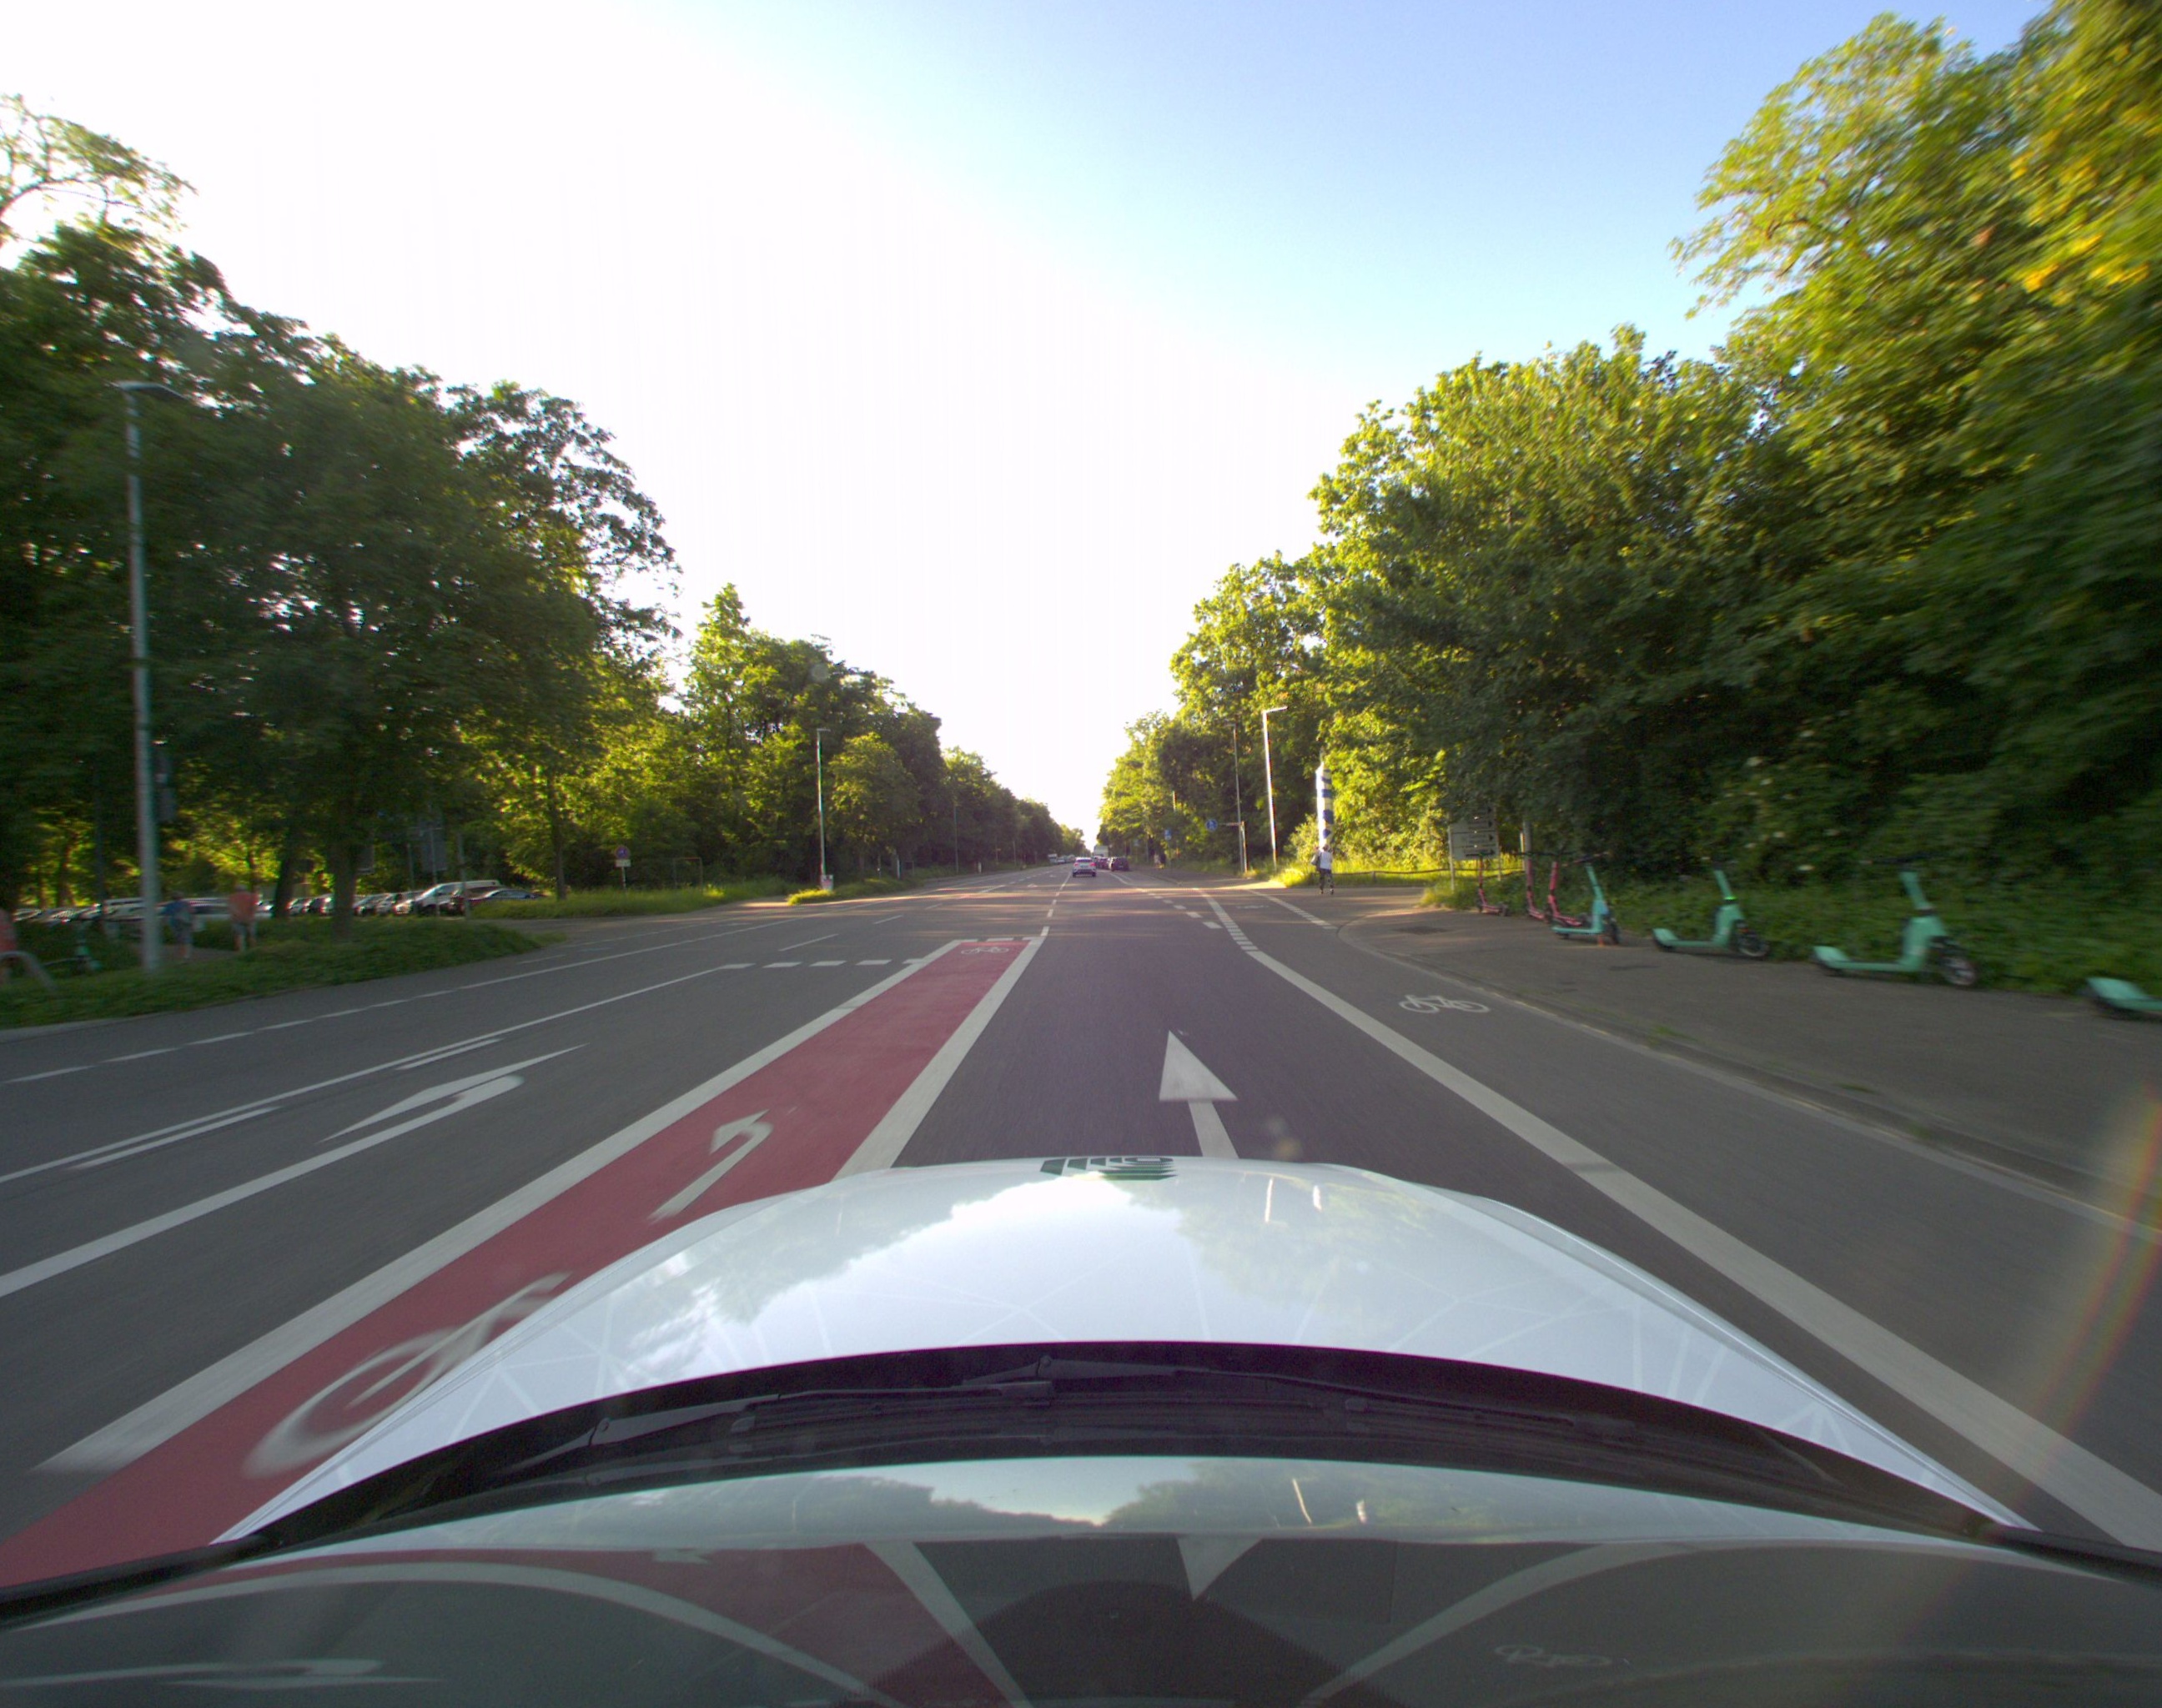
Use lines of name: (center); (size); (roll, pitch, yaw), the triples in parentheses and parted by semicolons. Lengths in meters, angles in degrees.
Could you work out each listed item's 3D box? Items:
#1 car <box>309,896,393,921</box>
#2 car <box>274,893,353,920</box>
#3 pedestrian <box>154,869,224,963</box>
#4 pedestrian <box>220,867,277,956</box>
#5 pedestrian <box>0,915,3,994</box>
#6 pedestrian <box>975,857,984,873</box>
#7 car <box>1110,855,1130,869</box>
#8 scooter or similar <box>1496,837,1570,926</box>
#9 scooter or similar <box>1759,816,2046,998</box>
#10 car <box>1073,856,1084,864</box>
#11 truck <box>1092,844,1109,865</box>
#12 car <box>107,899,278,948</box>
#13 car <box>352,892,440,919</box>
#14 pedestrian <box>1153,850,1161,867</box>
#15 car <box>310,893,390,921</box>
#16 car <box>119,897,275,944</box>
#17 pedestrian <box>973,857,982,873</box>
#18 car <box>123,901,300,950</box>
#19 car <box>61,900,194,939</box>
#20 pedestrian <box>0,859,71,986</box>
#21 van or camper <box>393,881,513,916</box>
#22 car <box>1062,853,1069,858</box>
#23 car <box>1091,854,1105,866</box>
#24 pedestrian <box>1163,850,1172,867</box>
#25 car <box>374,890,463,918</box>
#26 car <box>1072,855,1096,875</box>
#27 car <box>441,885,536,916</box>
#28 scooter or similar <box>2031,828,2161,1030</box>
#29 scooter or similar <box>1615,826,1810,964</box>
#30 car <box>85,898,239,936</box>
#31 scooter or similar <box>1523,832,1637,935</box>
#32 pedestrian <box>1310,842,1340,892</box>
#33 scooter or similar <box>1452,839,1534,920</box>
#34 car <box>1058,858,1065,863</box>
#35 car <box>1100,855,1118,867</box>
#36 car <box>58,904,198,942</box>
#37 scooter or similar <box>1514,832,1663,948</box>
car: (-51.602, 3.824, 57.634); (1.652, 1.466, 4.025); (-3, 0, 28)
car: (-59.874, 4.092, 63.571); (1.974, 1.739, 4.025); (-3, 0, 30)
pedestrian: (-19.956, 1.369, 18.226); (0.710, 2.013, 0.880); (-3, 0, 32)
pedestrian: (-19.490, 1.333, 19.075); (0.710, 2.013, 0.752); (-3, 0, 32)
pedestrian: (-17.542, 1.220, 12.564); (0.712, 2.013, 0.799); (-3, 0, 8)
pedestrian: (-13.128, 1.462, 105.774); (0.827, 2.013, 1.270); (-3, 0, 3)
car: (4.087, 0.806, 85.904); (1.987, 1.327, 4.001); (-3, 0, 1)
scooter or similar: (7.678, 0.453, 13.903); (0.678, 1.423, 1.249); (-3, 0, 10)
scooter or similar: (7.264, 0.424, 7.332); (0.682, 1.423, 1.674); (-3, 0, -12)
car: (-0.422, 1.118, 163.970); (1.986, 1.519, 4.002); (-3, 0, 2)
truck: (3.426, 0.117, 145.405); (2.790, 3.570, 8.033); (-1, 0, 0)
car: (-36.371, 2.796, 33.470); (1.974, 1.544, 4.442); (-3, 0, 33)
car: (-44.993, 3.377, 53.568); (1.652, 1.466, 4.025); (-3, 0, 28)
pedestrian: (7.457, 0.465, 79.737); (0.696, 1.653, 0.876); (-3, 0, 1)
car: (-55.505, 4.009, 61.902); (1.974, 1.739, 4.025); (-3, 0, 30)
car: (-39.591, 2.924, 36.597); (1.974, 1.689, 4.442); (-3, 0, 33)
pedestrian: (-13.382, 1.379, 105.783); (0.860, 2.013, 1.270); (-2, 0, 3)
car: (-34.079, 2.754, 32.050); (1.974, 1.481, 4.442); (-3, 0, 33)
car: (-52.541, 3.590, 44.968); (1.974, 1.703, 4.529); (-3, 0, 33)
pedestrian: (-17.444, 1.104, 13.355); (0.713, 2.013, 0.799); (-3, -1, 8)
van or camper: (-38.591, 2.709, 50.245); (1.974, 2.014, 5.451); (-2, -3, 31)
car: (-4.918, 0.487, 255.538); (1.987, 1.327, 3.999); (-3, 0, 0)
car: (2.482, 0.824, 117.893); (1.987, 1.555, 4.001); (-3, 0, 1)
pedestrian: (8.479, 0.422, 79.753); (0.741, 1.599, 0.798); (-3, 0, 1)
car: (-42.240, 3.169, 52.008); (1.652, 1.466, 4.025); (-3, 0, 28)
car: (0.204, 0.860, 64.432); (1.757, 1.459, 3.815); (-1, 0, -2)
car: (-34.582, 2.693, 47.633); (1.974, 1.526, 4.026); (-3, 0, 35)
scooter or similar: (7.316, 0.482, 5.232); (0.467, 1.306, 1.471); (-2, 0, -20)
scooter or similar: (7.206, 0.433, 9.406); (0.683, 1.423, 1.673); (-3, 0, -14)
car: (-42.090, 2.856, 37.404); (1.974, 1.314, 4.442); (-3, 0, 33)
scooter or similar: (7.529, 0.419, 12.393); (0.679, 1.423, 1.682); (-3, 0, 2)
pedestrian: (7.947, 0.422, 26.556); (0.751, 1.563, 0.804); (-3, 0, 6)
scooter or similar: (7.770, 0.460, 15.442); (0.679, 1.423, 1.682); (-3, 0, 2)
car: (-5.574, 1.956, 232.389); (1.987, 1.327, 3.999); (-3, 0, 0)
car: (3.459, 0.870, 101.621); (1.988, 1.327, 3.997); (-3, 0, -2)
car: (-49.764, 3.561, 42.618); (1.974, 1.544, 4.529); (-3, 0, 33)
scooter or similar: (6.850, 0.455, 11.093); (0.683, 1.423, 1.673); (-3, 0, -14)
